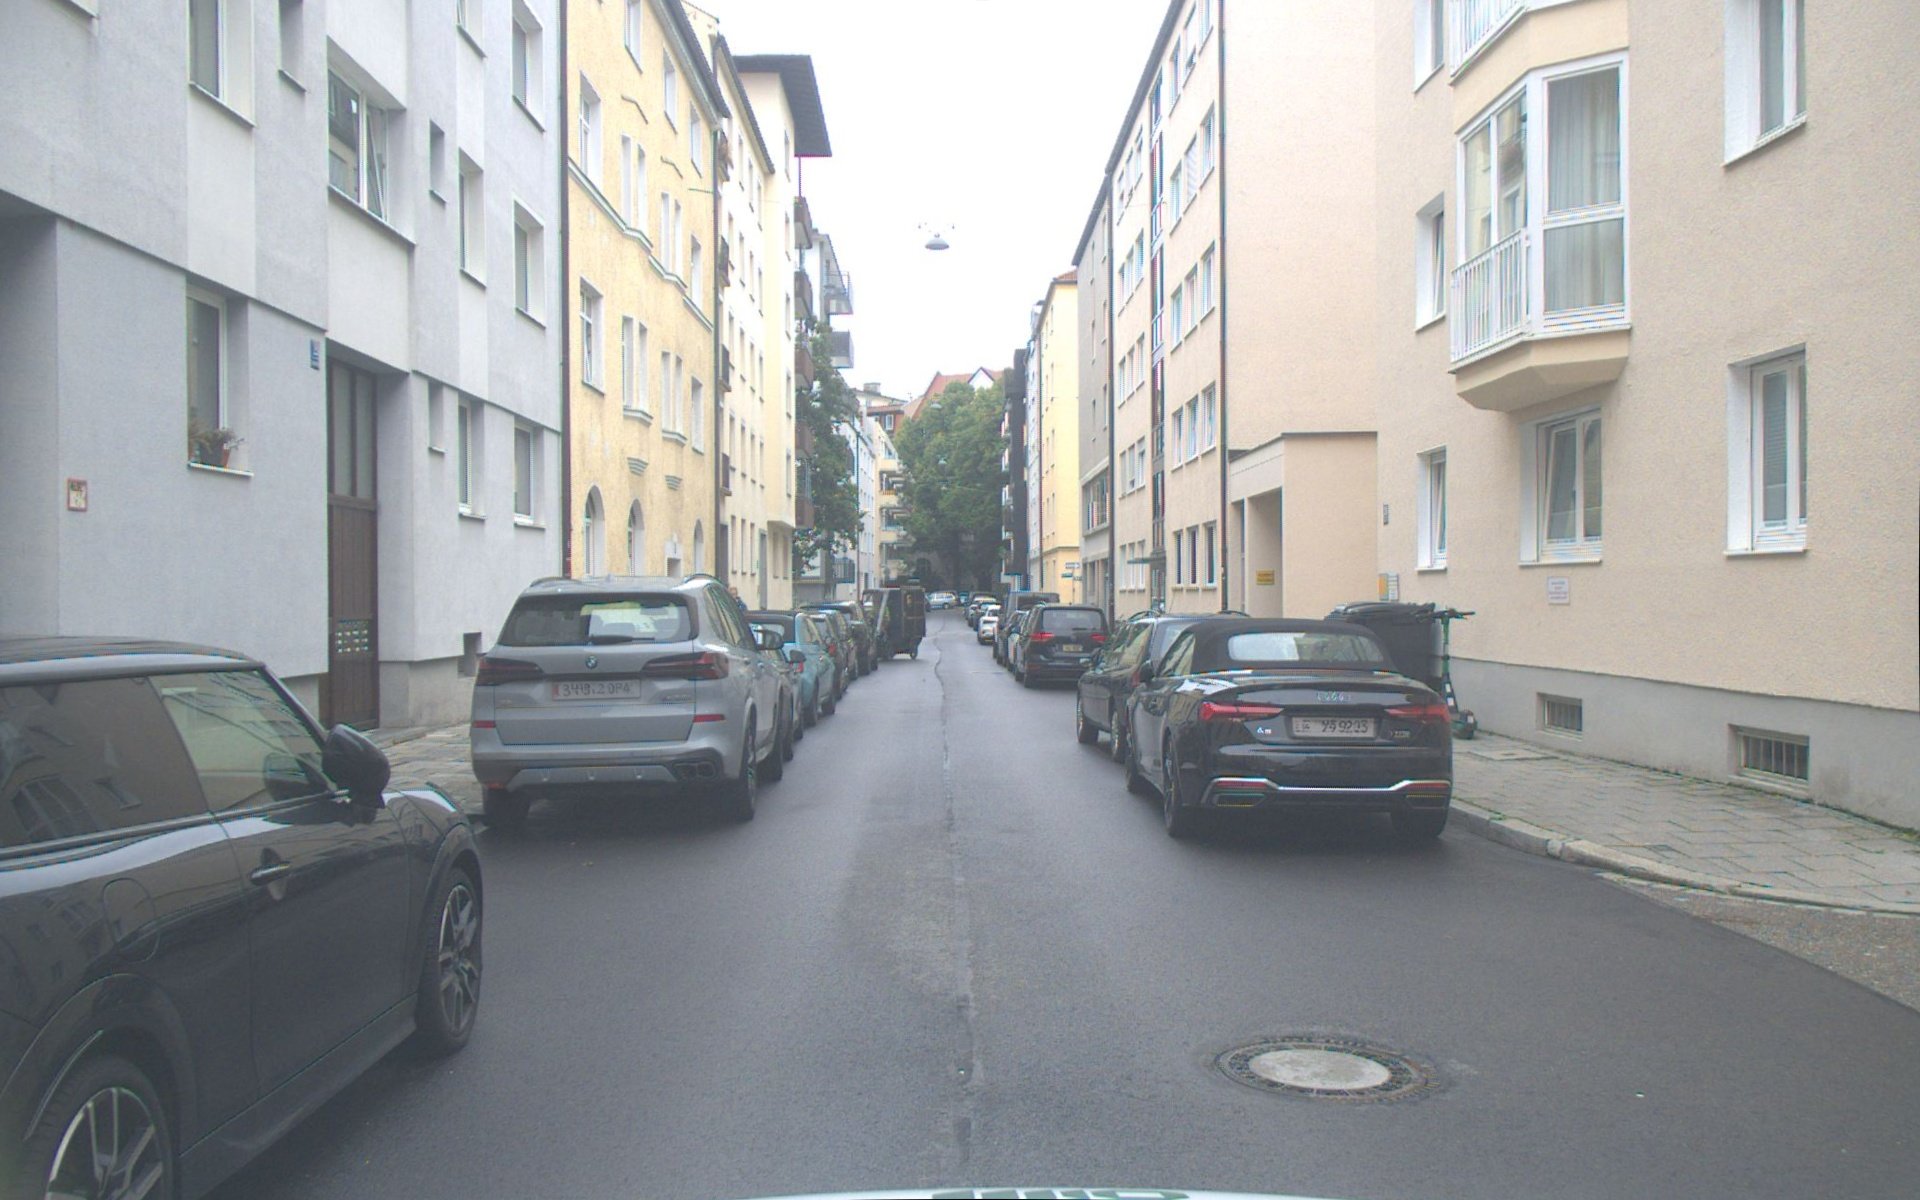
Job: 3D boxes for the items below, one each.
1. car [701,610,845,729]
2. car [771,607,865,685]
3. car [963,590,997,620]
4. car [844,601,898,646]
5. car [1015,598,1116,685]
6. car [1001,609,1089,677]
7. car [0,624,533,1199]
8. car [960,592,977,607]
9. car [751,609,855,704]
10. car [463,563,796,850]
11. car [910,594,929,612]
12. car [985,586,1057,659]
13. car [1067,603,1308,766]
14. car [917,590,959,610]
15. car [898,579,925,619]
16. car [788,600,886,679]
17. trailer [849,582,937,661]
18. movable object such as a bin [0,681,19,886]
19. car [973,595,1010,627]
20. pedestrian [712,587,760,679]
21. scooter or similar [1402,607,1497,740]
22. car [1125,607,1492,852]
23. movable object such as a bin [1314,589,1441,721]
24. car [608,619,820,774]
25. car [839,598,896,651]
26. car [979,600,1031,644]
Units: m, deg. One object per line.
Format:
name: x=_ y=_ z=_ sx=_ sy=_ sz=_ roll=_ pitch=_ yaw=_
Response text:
car: x=-2.525 y=0.908 z=23.002 sx=1.530 sy=1.486 sz=3.404 roll=-1 pitch=0 yaw=1
car: x=-2.859 y=0.904 z=33.857 sx=1.530 sy=1.486 sz=3.476 roll=-1 pitch=0 yaw=1
car: x=1.129 y=0.277 z=93.692 sx=1.648 sy=1.595 sz=4.413 roll=2 pitch=0 yaw=-2
car: x=-3.291 y=0.856 z=61.879 sx=1.729 sy=1.509 sz=4.424 roll=-1 pitch=1 yaw=1
car: x=2.083 y=0.804 z=33.597 sx=1.677 sy=1.636 sz=4.243 roll=1 pitch=0 yaw=-1
car: x=1.969 y=0.980 z=39.427 sx=1.677 sy=1.512 sz=4.242 roll=1 pitch=0 yaw=-3
car: x=-2.422 y=0.825 z=4.420 sx=1.618 sy=1.436 sz=3.733 roll=-2 pitch=-1 yaw=-1
car: x=0.823 y=-0.065 z=171.152 sx=1.609 sy=1.407 sz=3.745 roll=-3 pitch=0 yaw=-1
car: x=-2.666 y=0.929 z=28.742 sx=1.531 sy=1.486 sz=3.762 roll=-1 pitch=0 yaw=-2
car: x=-2.403 y=0.711 z=13.238 sx=1.825 sy=1.801 sz=4.733 roll=-2 pitch=0 yaw=-2
car: x=-3.502 y=0.240 z=143.891 sx=1.609 sy=1.407 sz=3.482 roll=-3 pitch=0 yaw=-1
car: x=1.769 y=0.624 z=48.987 sx=1.716 sy=2.010 sz=4.341 roll=2 pitch=0 yaw=-3
car: x=2.259 y=0.803 z=17.589 sx=1.683 sy=1.497 sz=4.528 roll=1 pitch=0 yaw=-4
car: x=-2.047 y=0.029 z=153.928 sx=3.808 sy=1.612 sz=1.647 roll=-3 pitch=0 yaw=-2
car: x=-3.651 y=-0.073 z=125.307 sx=1.897 sy=2.850 sz=4.532 roll=-3 pitch=0 yaw=-1
car: x=-2.814 y=0.872 z=38.685 sx=1.840 sy=1.689 sz=4.415 roll=-1 pitch=0 yaw=1
trailer: x=-1.876 y=0.607 z=47.175 sx=1.327 sy=2.153 sz=3.318 roll=-1 pitch=-1 yaw=20
movable object such as a bin: x=-5.399 y=0.941 z=8.425 sx=0.790 sy=1.069 sz=0.622 roll=3 pitch=-1 yaw=-1
car: x=1.576 y=0.552 z=83.911 sx=1.715 sy=1.495 sz=4.342 roll=2 pitch=0 yaw=-1
pedestrian: x=-4.439 y=0.641 z=32.834 sx=0.822 sy=1.795 sz=1.067 roll=0 pitch=0 yaw=-1
scooter or similar: x=5.001 y=0.730 z=16.946 sx=0.564 sy=1.288 sz=1.136 roll=-2 pitch=-1 yaw=-1
car: x=2.292 y=0.786 z=12.030 sx=1.795 sy=1.430 sz=4.411 roll=1 pitch=0 yaw=1
movable object such as a bin: x=4.864 y=0.626 z=19.394 sx=1.011 sy=1.448 sz=1.586 roll=-2 pitch=-1 yaw=-1
car: x=-2.572 y=0.960 z=18.209 sx=1.775 sy=1.410 sz=4.249 roll=-2 pitch=0 yaw=-2
car: x=-3.111 y=0.819 z=56.320 sx=1.730 sy=1.704 sz=4.366 roll=-1 pitch=0 yaw=-1
car: x=1.715 y=0.810 z=63.681 sx=1.782 sy=1.432 sz=3.952 roll=1 pitch=3 yaw=-2
